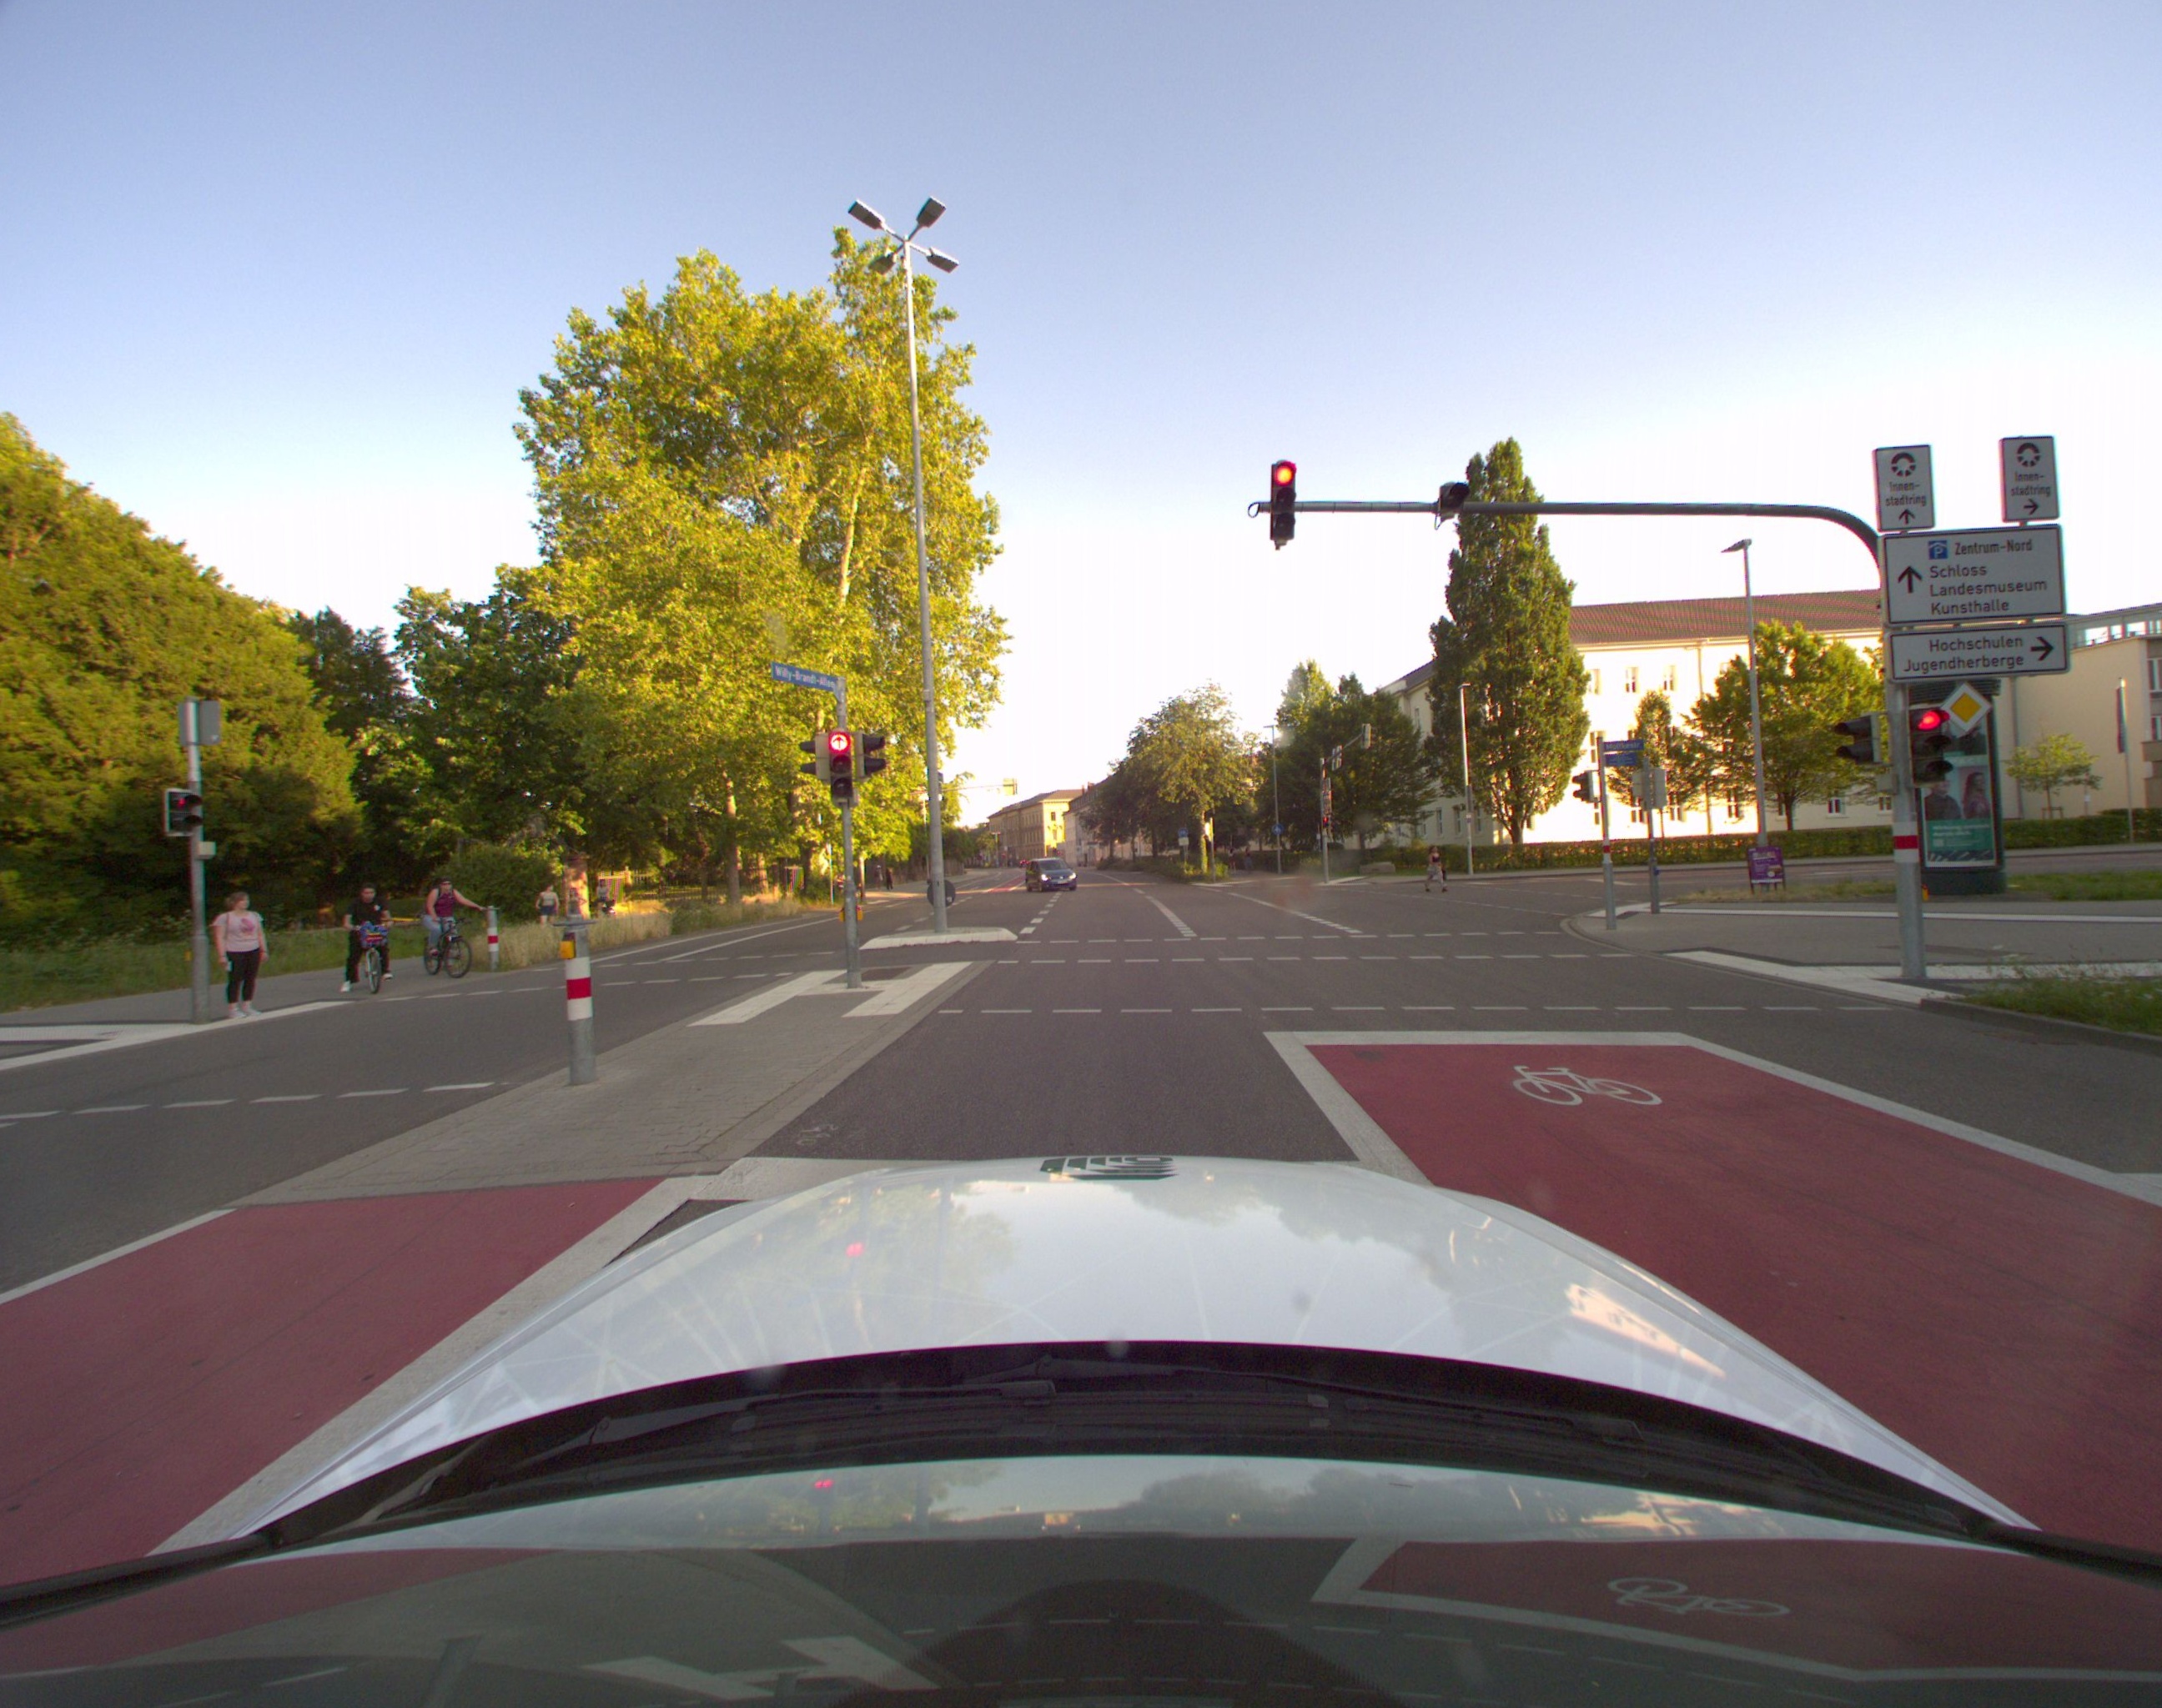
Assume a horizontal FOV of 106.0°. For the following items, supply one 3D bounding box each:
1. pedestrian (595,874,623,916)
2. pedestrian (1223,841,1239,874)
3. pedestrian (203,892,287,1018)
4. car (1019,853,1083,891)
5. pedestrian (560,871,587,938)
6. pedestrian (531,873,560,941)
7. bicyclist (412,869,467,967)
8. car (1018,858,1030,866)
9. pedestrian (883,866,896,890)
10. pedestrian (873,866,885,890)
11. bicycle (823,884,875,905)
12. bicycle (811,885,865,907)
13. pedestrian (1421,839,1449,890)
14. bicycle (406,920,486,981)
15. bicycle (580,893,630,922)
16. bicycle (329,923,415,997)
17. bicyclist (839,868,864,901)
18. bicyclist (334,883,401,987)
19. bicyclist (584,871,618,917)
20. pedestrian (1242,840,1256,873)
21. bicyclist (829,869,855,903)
[{"bbox_3d":[-23.295,2.017,40.186,0.759,2.014,1.075,-2,-1,-5],"label":"pedestrian"},{"bbox_3d":[9.476,0.213,51.397,0.867,2.014,0.723,-2,-1,1],"label":"pedestrian"},{"bbox_3d":[-11.751,1.401,11.464,0.604,1.695,0.499,-3,0,3],"label":"pedestrian"},{"bbox_3d":[-1.562,0.876,40.192,1.856,1.720,4.266,-3,0,-20],"label":"car"},{"bbox_3d":[-15.610,1.545,25.052,0.598,2.014,0.634,-1,-1,-38],"label":"pedestrian"},{"bbox_3d":[-16.180,1.589,24.610,0.654,2.014,0.599,-1,-1,-37],"label":"pedestrian"},{"bbox_3d":[-12.021,1.187,15.261,0.631,1.780,0.580,-3,-1,32],"label":"bicyclist"},{"bbox_3d":[-11.883,1.750,170.260,1.821,1.588,3.983,-4,0,-12],"label":"car"},{"bbox_3d":[-13.036,1.644,55.419,0.597,1.573,0.646,-3,0,1],"label":"pedestrian"},{"bbox_3d":[-13.767,1.664,55.508,0.533,1.596,0.591,-3,0,1],"label":"pedestrian"},{"bbox_3d":[-12.070,2.092,42.432,2.420,0.924,0.775,-3,0,2],"label":"bicycle"},{"bbox_3d":[-12.125,2.089,40.712,2.420,0.924,0.775,-3,0,2],"label":"bicycle"},{"bbox_3d":[11.622,0.341,26.759,0.597,1.636,0.692,-2,0,4],"label":"pedestrian"},{"bbox_3d":[-11.819,1.763,15.148,1.749,1.030,0.583,-3,0,32],"label":"bicycle"},{"bbox_3d":[-18.230,2.034,31.157,2.267,1.033,0.746,-2,-1,35],"label":"bicycle"},{"bbox_3d":[-11.753,1.727,13.493,1.548,1.111,0.637,-3,-1,32],"label":"bicycle"},{"bbox_3d":[-11.944,1.595,42.414,0.954,1.631,0.753,-3,0,2],"label":"bicyclist"},{"bbox_3d":[-11.865,1.327,13.555,0.631,1.649,0.634,-3,-1,32],"label":"bicyclist"},{"bbox_3d":[-18.336,1.516,31.105,0.932,1.728,0.762,-2,-1,35],"label":"bicyclist"},{"bbox_3d":[10.467,0.134,50.846,0.633,2.014,0.720,-2,-1,-2],"label":"pedestrian"},{"bbox_3d":[-11.941,1.591,40.717,0.954,1.631,0.753,-3,0,2],"label":"bicyclist"}]
